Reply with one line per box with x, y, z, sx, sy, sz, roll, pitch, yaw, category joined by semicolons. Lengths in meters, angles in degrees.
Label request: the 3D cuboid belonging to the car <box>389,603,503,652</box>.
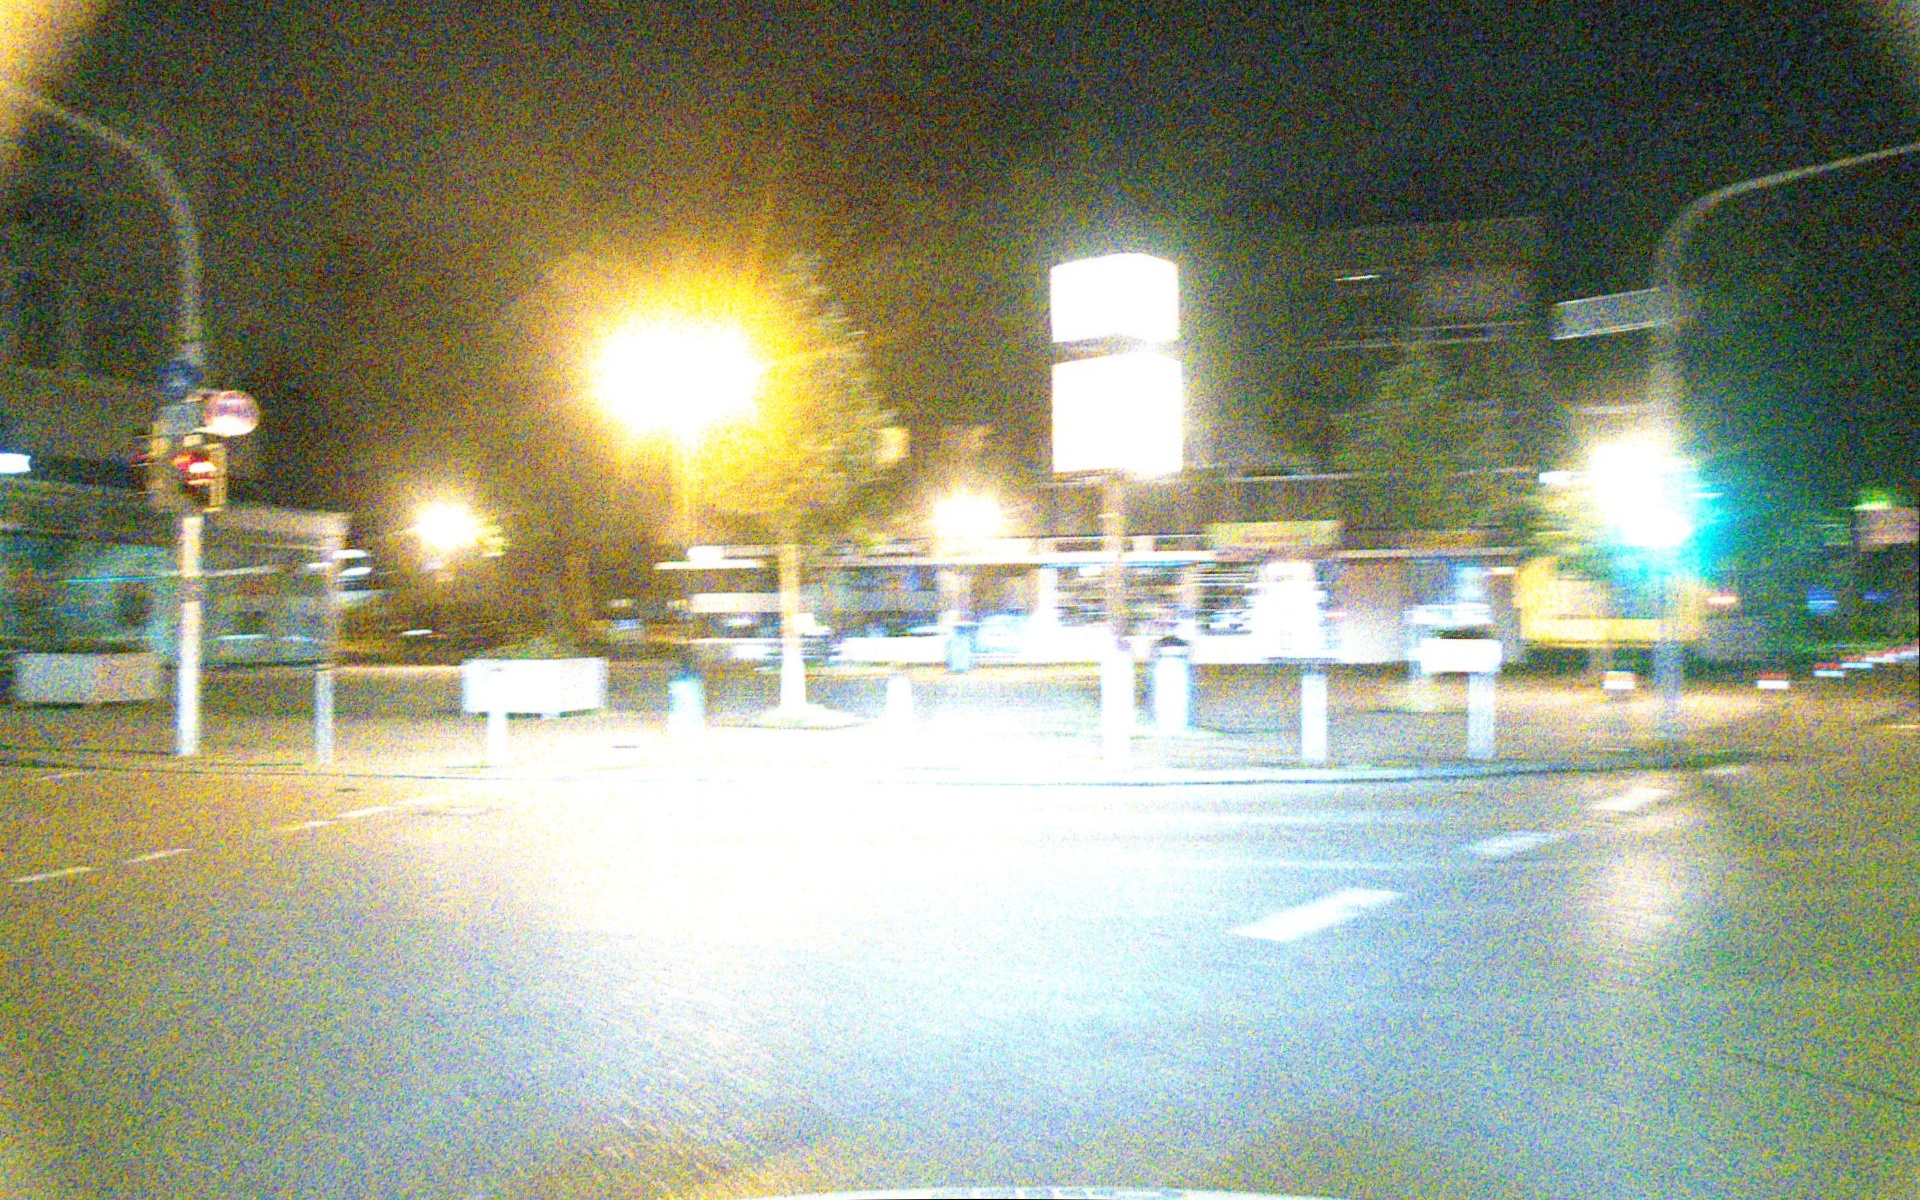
-17.055;0.877;55.105;1.877;1.476;4.004;1;1;13;car
